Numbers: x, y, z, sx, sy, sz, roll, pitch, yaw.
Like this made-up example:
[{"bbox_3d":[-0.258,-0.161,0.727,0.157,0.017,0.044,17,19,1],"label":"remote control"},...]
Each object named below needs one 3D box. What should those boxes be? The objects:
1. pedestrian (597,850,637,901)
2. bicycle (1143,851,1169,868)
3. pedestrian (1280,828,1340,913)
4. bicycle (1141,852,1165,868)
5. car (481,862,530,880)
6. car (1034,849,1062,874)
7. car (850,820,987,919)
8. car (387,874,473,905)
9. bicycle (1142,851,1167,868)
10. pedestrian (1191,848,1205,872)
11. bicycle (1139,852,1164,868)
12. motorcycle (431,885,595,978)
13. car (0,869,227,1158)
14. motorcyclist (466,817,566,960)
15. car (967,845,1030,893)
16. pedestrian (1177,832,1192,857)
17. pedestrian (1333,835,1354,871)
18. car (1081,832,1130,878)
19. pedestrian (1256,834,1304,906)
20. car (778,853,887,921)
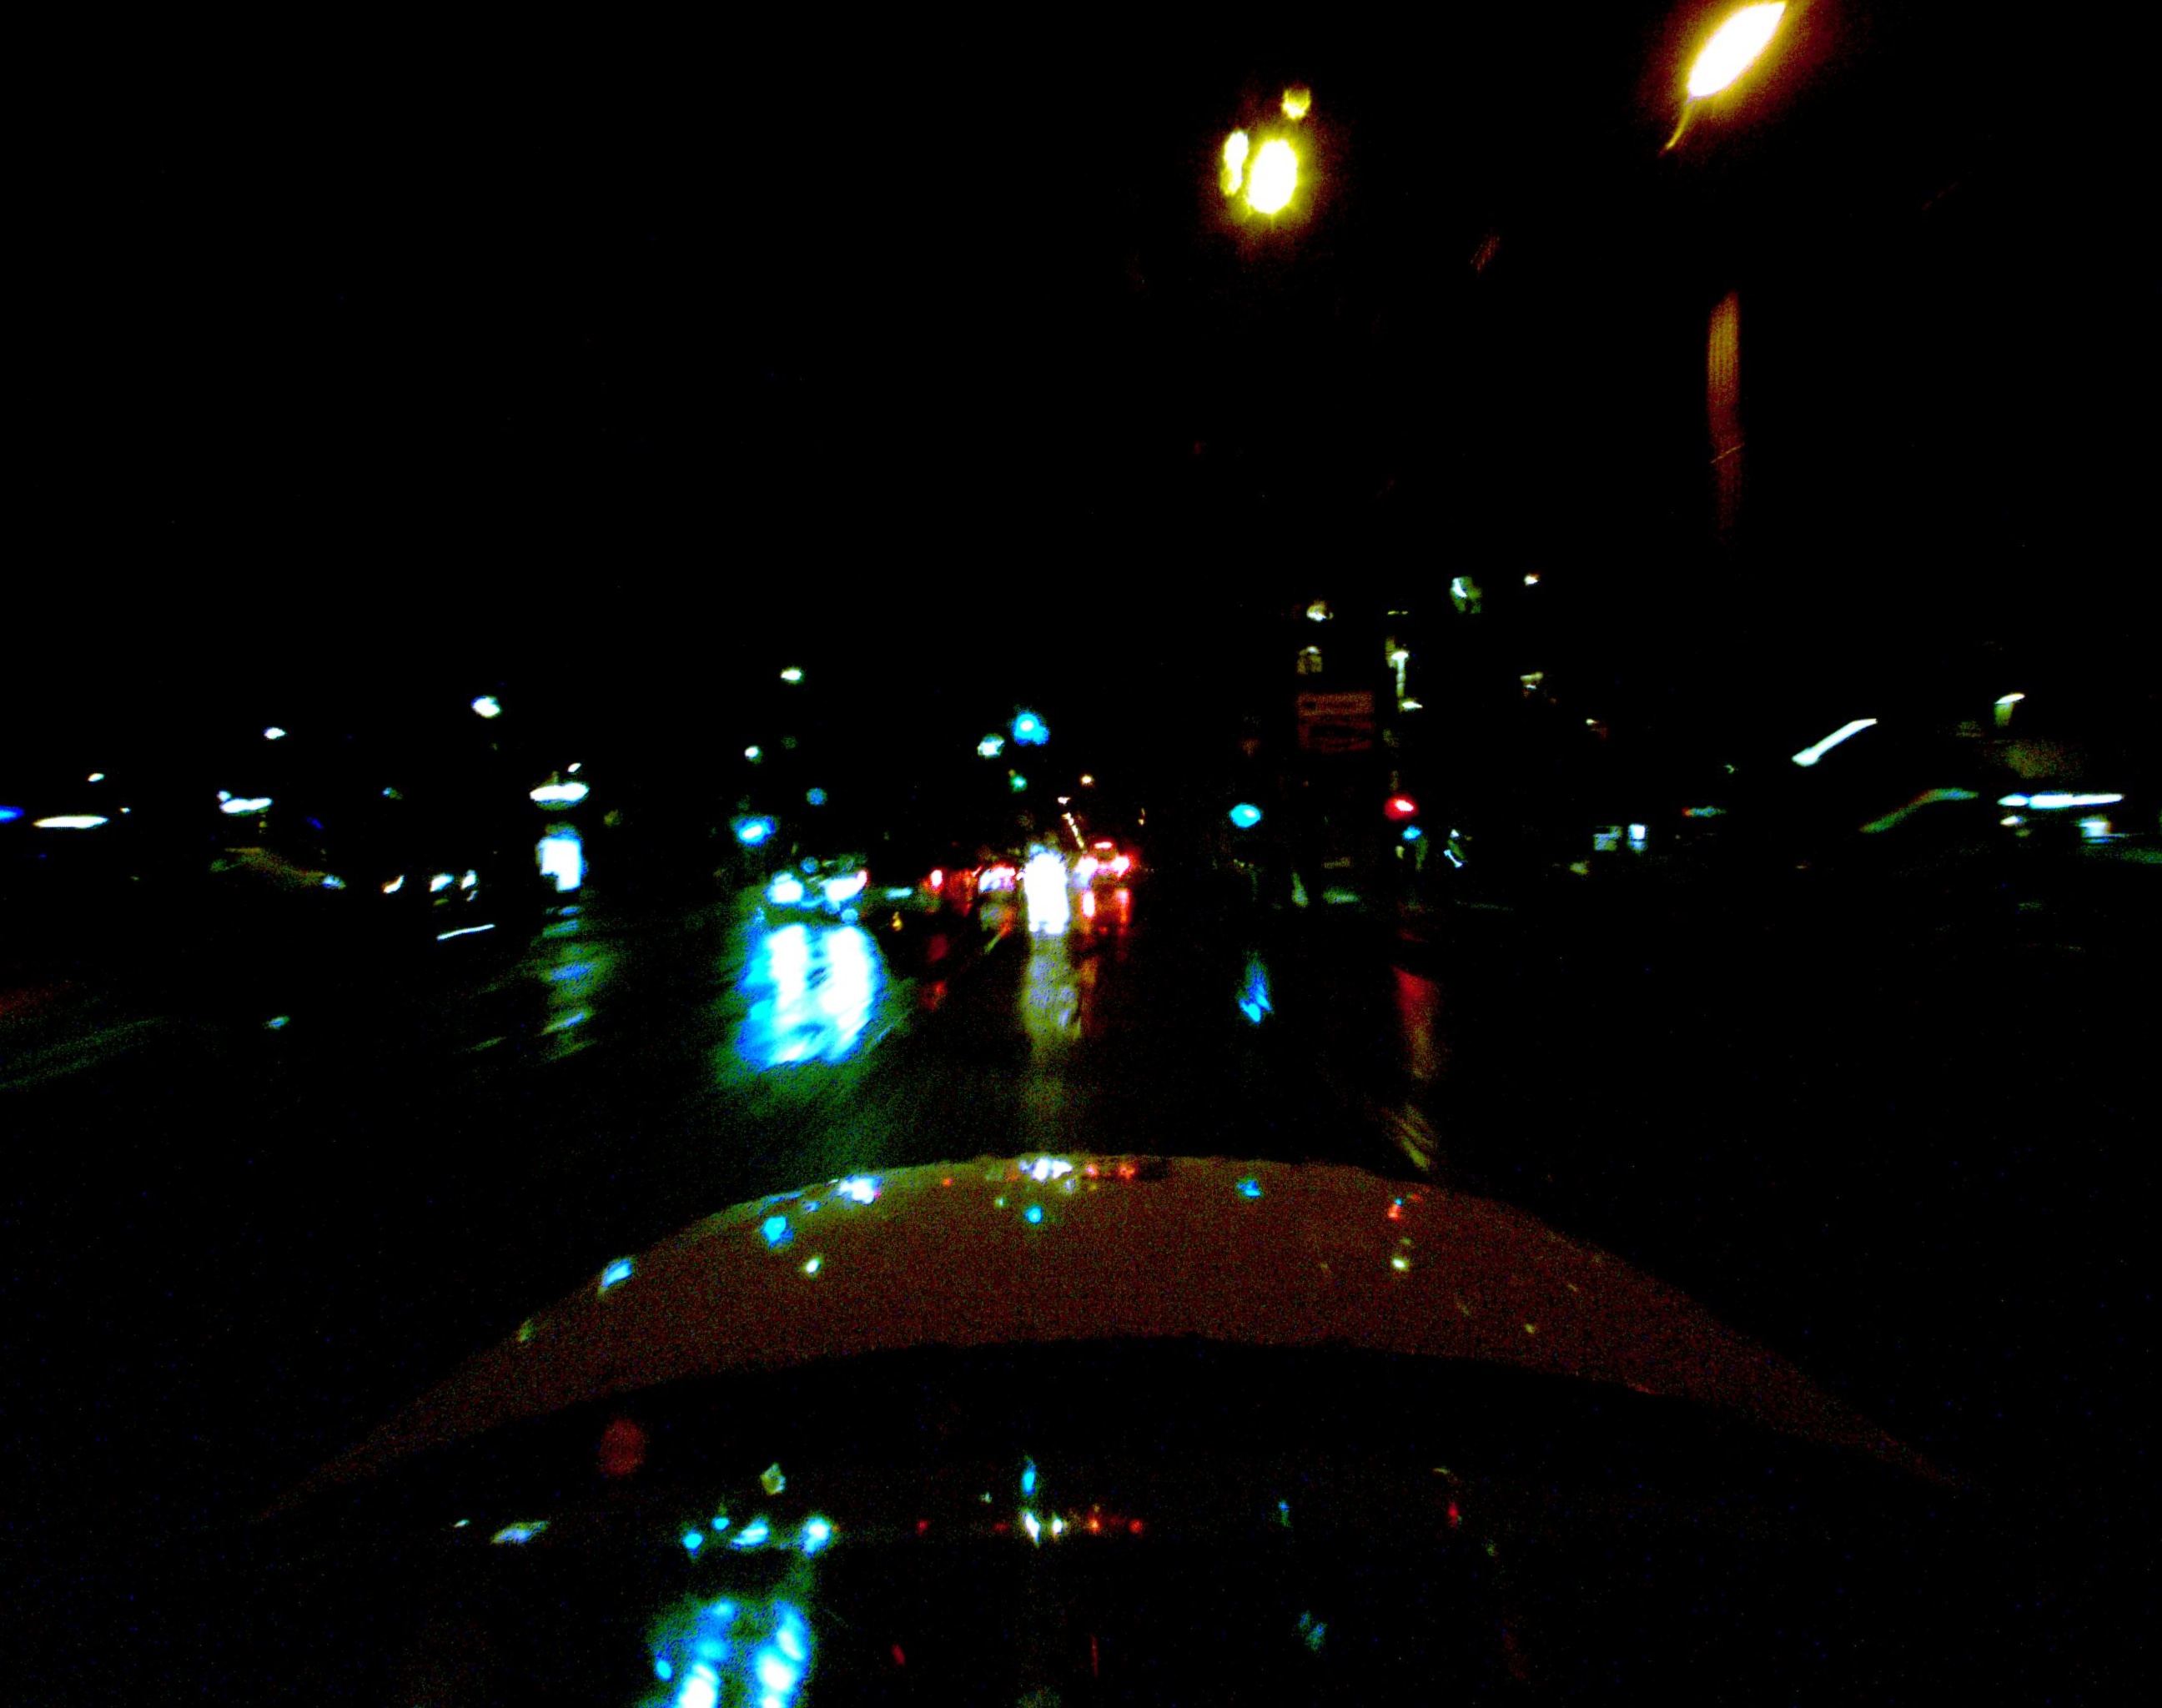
[{"bbox_3d":[-16.462,0.749,28.907,0.761,1.736,0.976,-1,0,37],"label":"pedestrian"},{"bbox_3d":[5.986,0.451,65.206,1.894,1.251,0.709,-3,-1,-5],"label":"bicycle"},{"bbox_3d":[5.085,0.353,18.144,1.102,1.825,0.852,-1,0,4],"label":"pedestrian"},{"bbox_3d":[5.904,0.501,66.880,1.894,1.251,0.595,-3,-1,-5],"label":"bicycle"},{"bbox_3d":[-60.905,1.751,86.255,4.283,1.780,2.098,-1,0,19],"label":"car"},{"bbox_3d":[-2.078,0.467,51.953,1.702,1.542,3.987,-1,0,-1],"label":"car"},{"bbox_3d":[-3.678,0.278,19.501,2.027,1.953,5.201,-3,1,1],"label":"car"},{"bbox_3d":[-36.453,1.969,45.607,4.281,1.569,1.908,-1,0,23],"label":"car"},{"bbox_3d":[5.939,0.463,66.151,1.894,1.251,0.595,-3,-1,-5],"label":"bicycle"},{"bbox_3d":[8.223,0.401,57.159,0.778,1.618,1.000,-1,0,0],"label":"pedestrian"},{"bbox_3d":[5.860,0.477,67.513,1.894,1.251,0.595,-3,-1,-5],"label":"bicycle"},{"bbox_3d":[-8.297,1.085,12.041,0.697,1.138,2.179,-1,1,6],"label":"motorcycle"},{"bbox_3d":[-6.664,0.913,3.090,1.847,1.499,4.766,-1,1,-2],"label":"car"},{"bbox_3d":[-8.309,0.479,12.011,0.689,2.013,0.984,-1,0,6],"label":"motorcyclist"},{"bbox_3d":[-2.830,0.481,28.830,1.813,1.542,4.723,-1,0,-1],"label":"car"},{"bbox_3d":[7.802,-0.725,61.461,0.954,1.881,1.000,-1,0,0],"label":"pedestrian"},{"bbox_3d":[15.207,-0.071,47.164,0.965,2.013,1.022,-1,3,26],"label":"pedestrian"},{"bbox_3d":[1.090,0.042,38.578,2.161,1.972,4.301,-1,0,0],"label":"car"},{"bbox_3d":[5.194,0.404,21.332,1.101,1.825,0.853,-1,0,6],"label":"pedestrian"},{"bbox_3d":[-6.558,0.813,21.984,1.641,1.511,4.107,-3,1,-1],"label":"car"}]
